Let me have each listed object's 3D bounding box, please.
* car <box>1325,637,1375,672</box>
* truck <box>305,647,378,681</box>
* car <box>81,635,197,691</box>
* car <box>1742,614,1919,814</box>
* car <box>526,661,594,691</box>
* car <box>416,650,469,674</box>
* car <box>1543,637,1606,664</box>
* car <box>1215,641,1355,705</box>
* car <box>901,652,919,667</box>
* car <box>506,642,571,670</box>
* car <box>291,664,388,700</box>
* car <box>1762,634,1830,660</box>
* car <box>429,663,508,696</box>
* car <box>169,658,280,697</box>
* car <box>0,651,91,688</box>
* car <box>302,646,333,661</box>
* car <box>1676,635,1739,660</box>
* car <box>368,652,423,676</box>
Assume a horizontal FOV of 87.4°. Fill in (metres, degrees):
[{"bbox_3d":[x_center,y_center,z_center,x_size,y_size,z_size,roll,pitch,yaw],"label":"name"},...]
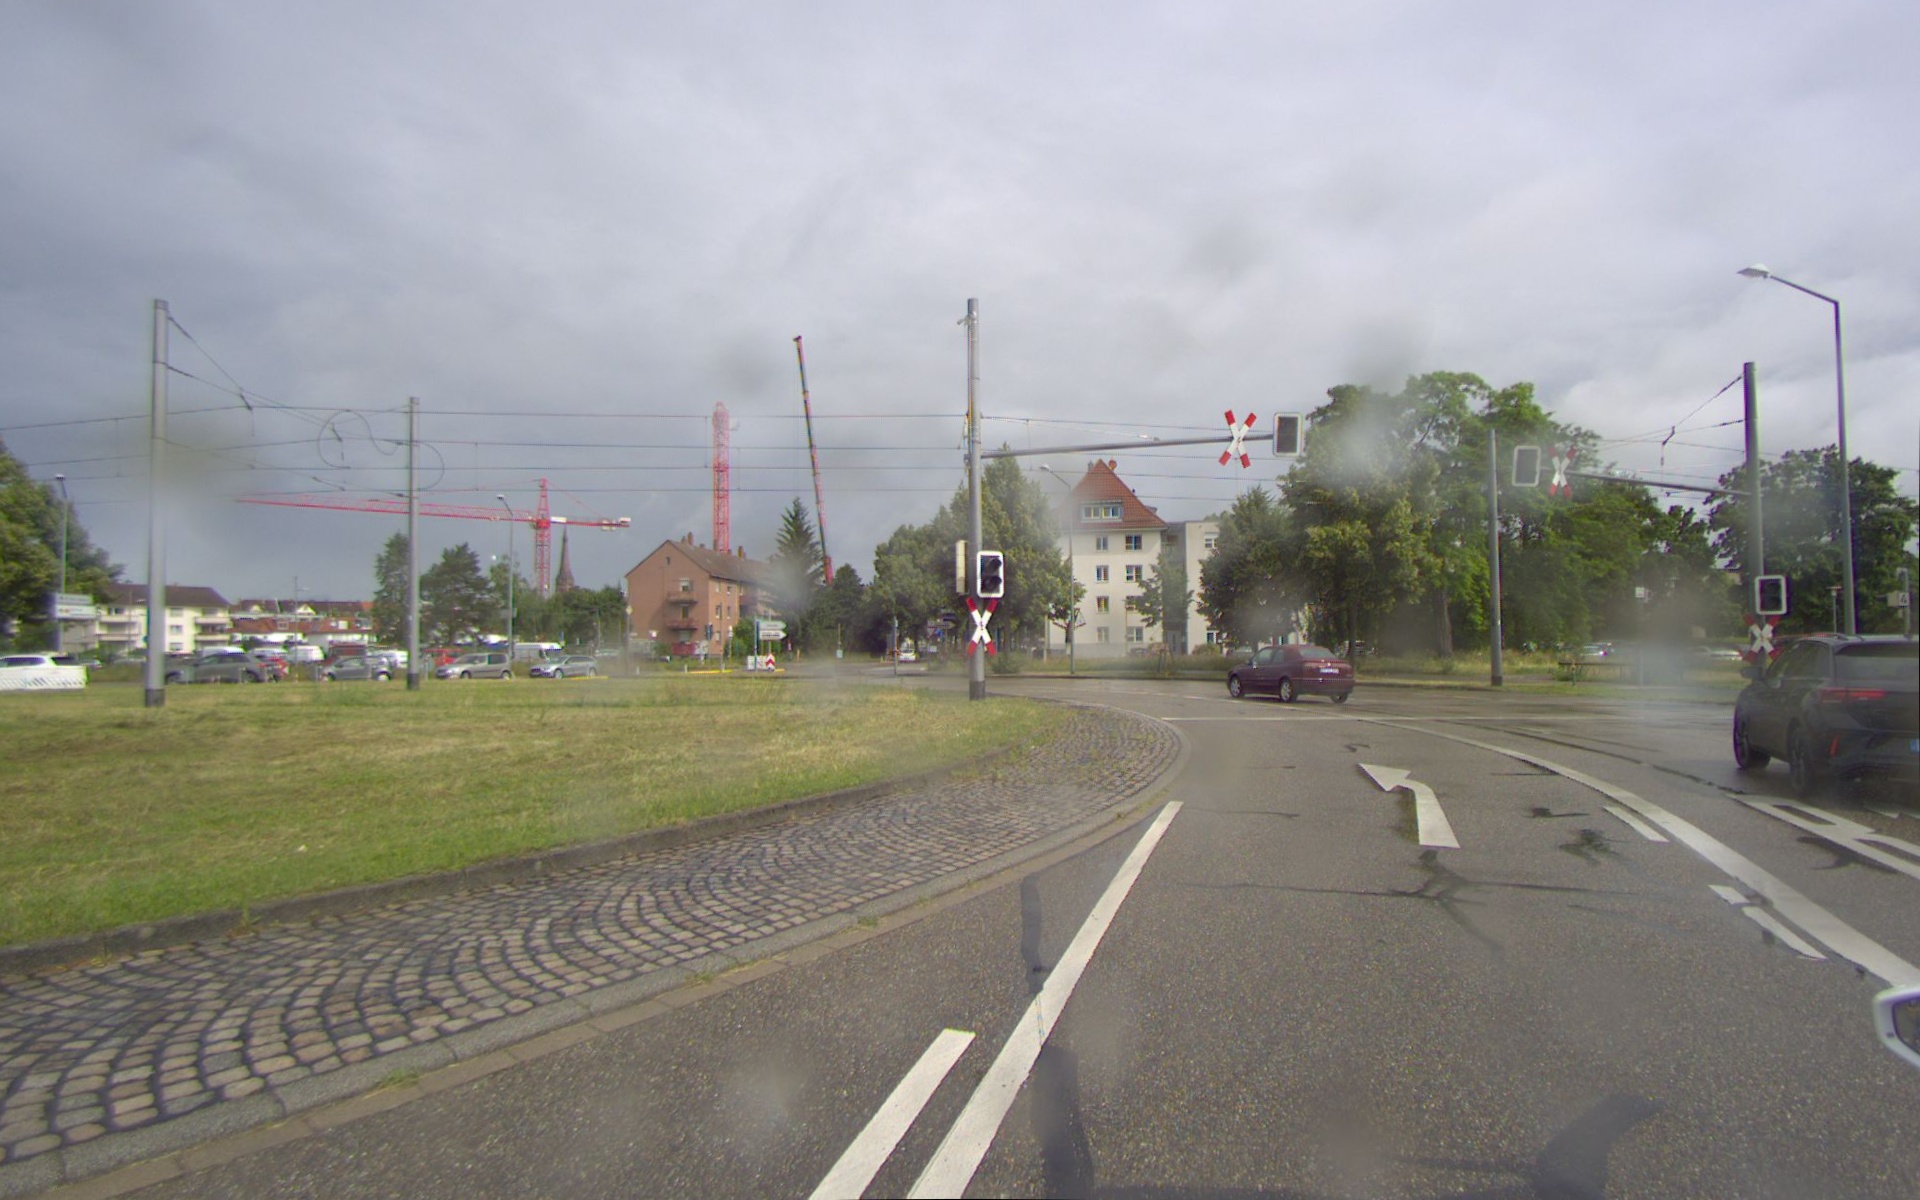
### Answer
[{"bbox_3d":[25.086,3.455,64.741,2.070,2.084,5.165,-2,-2,11],"label":"car"},{"bbox_3d":[-45.076,4.620,73.174,6.002,2.241,2.389,0,-2,36],"label":"truck"},{"bbox_3d":[-40.086,3.052,49.138,3.931,2.601,1.793,0,-2,-13],"label":"car"},{"bbox_3d":[9.224,0.994,10.196,1.873,1.639,3.985,-2,-1,36],"label":"car"},{"bbox_3d":[-23.266,4.416,58.507,1.571,1.581,3.545,-1,-2,28],"label":"car"},{"bbox_3d":[-40.977,4.909,79.564,3.930,1.722,1.926,0,-2,32],"label":"car"},{"bbox_3d":[37.874,3.135,62.004,1.813,1.580,3.982,-1,-3,8],"label":"car"},{"bbox_3d":[8.340,1.836,26.130,1.690,1.481,3.992,-1,-2,-12],"label":"car"},{"bbox_3d":[-5.286,6.265,105.660,1.521,1.473,3.496,-1,-2,-8],"label":"car"},{"bbox_3d":[-35.272,4.666,83.975,6.162,2.112,2.037,0,-2,35],"label":"car"},{"bbox_3d":[-30.733,4.041,49.813,3.962,1.606,1.779,1,-2,-37],"label":"car"},{"bbox_3d":[50.342,2.834,60.557,1.617,1.530,3.653,-1,-3,13],"label":"car"},{"bbox_3d":[-25.809,4.154,52.817,1.522,1.581,3.495,-1,-2,29],"label":"car"},{"bbox_3d":[-32.543,3.405,44.528,3.618,1.581,1.568,0,-2,-17],"label":"car"},{"bbox_3d":[-39.742,2.981,43.152,3.432,1.530,1.500,0,-2,-3],"label":"car"},{"bbox_3d":[-76.146,6.347,119.039,3.533,1.745,1.499,-2,-2,25],"label":"car"},{"bbox_3d":[45.409,2.883,61.086,1.612,1.481,3.614,-1,-3,10],"label":"car"},{"bbox_3d":[-44.296,4.997,78.828,3.926,1.722,1.856,0,-2,27],"label":"car"}]
